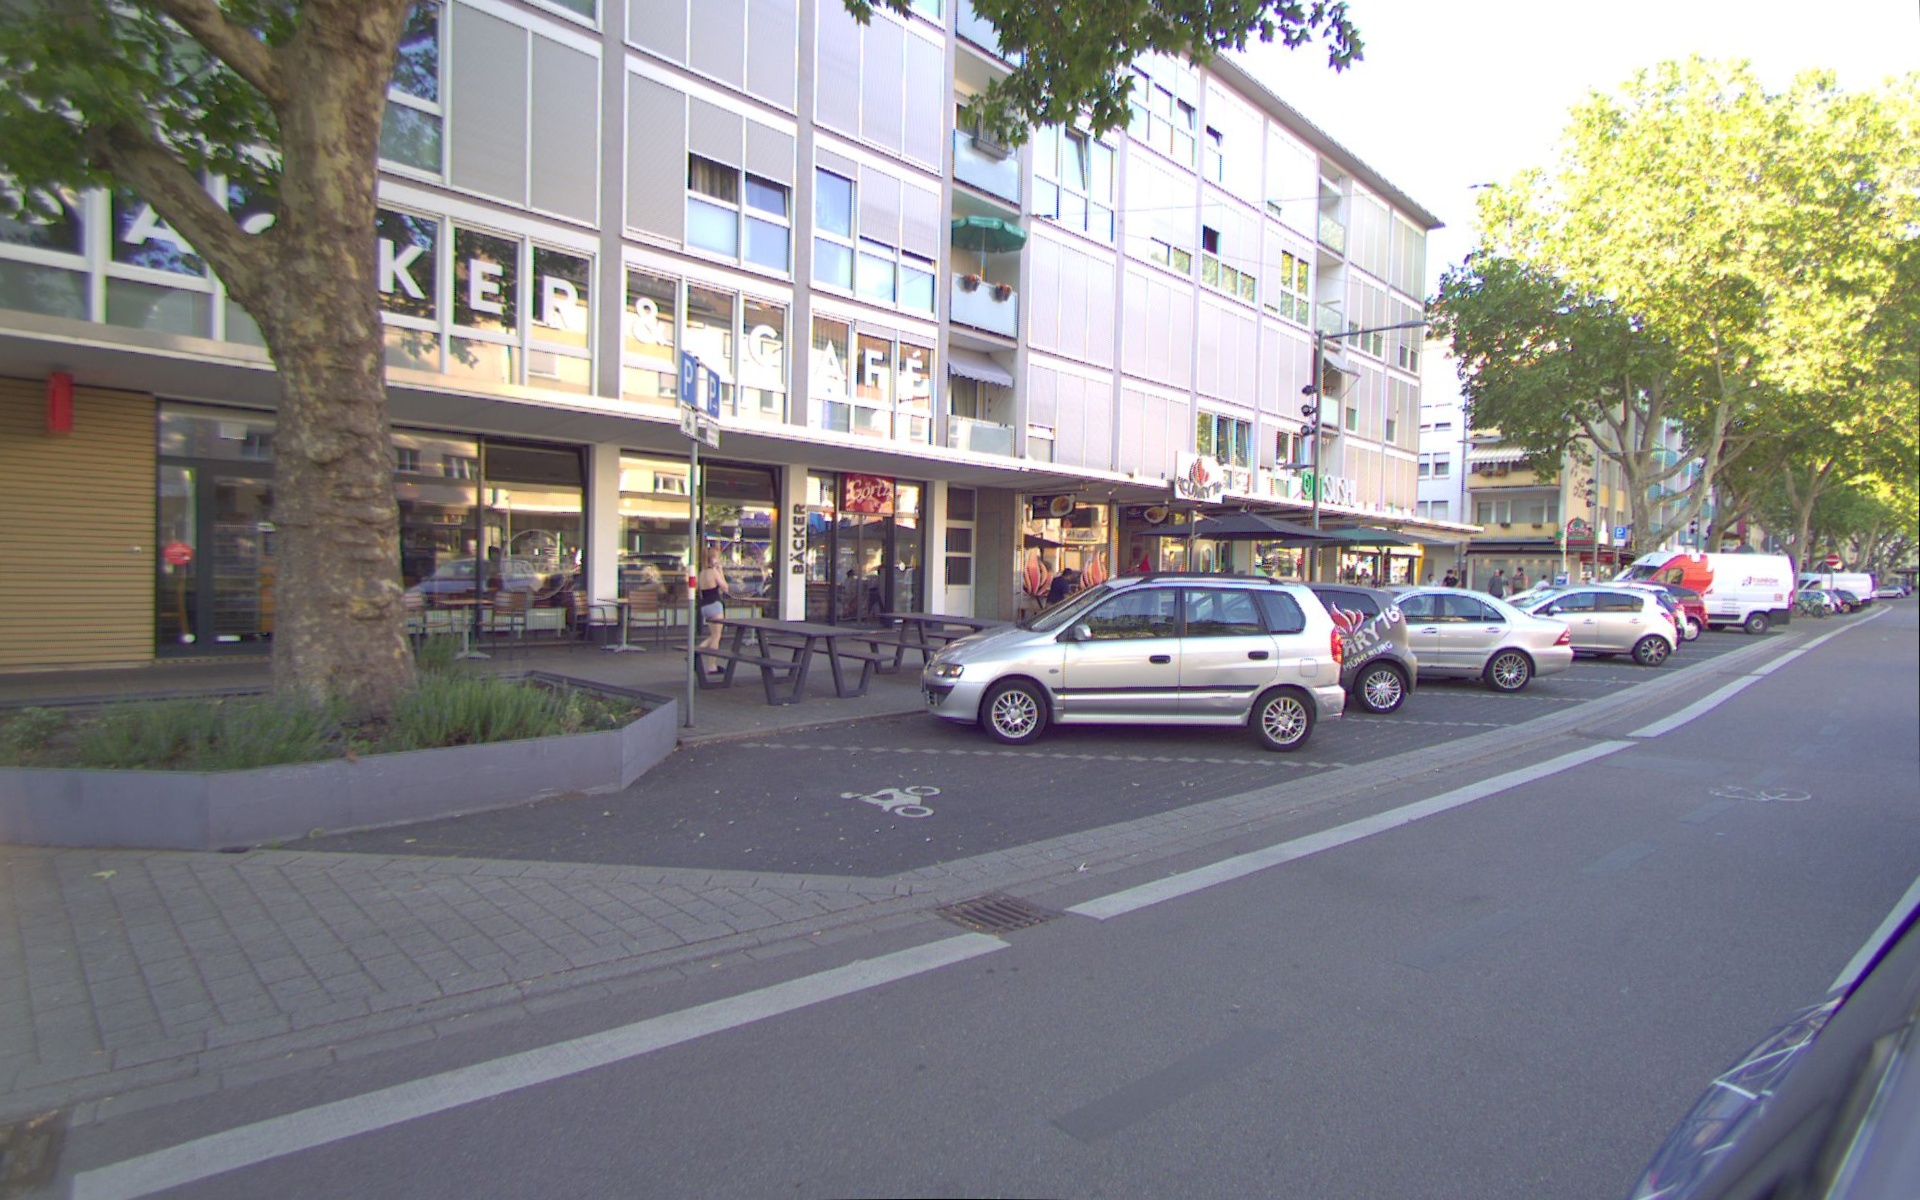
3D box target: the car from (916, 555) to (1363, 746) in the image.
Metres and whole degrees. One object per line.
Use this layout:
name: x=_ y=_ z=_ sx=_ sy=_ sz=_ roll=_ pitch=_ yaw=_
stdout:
car: x=1.566 y=0.419 z=9.802 sx=3.906 sy=1.560 sz=1.679 roll=2 pitch=3 yaw=-3

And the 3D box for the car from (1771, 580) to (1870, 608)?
car: x=48.010 y=-0.351 z=56.532 sx=3.864 sy=1.422 sz=1.782 roll=1 pitch=2 yaw=3

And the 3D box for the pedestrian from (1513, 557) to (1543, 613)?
pedestrian: x=20.938 y=-0.560 z=37.280 sx=0.746 sy=2.038 sz=0.752 roll=3 pitch=2 yaw=45

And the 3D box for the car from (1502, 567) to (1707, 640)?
car: x=15.916 y=0.045 z=25.210 sx=3.888 sy=1.445 sz=1.669 roll=4 pitch=5 yaw=17

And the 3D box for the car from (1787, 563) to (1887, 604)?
car: x=56.405 y=-1.079 z=65.141 sx=4.512 sy=2.499 sz=1.977 roll=1 pitch=2 yaw=3

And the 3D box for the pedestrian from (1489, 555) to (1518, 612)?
pedestrian: x=19.649 y=-0.604 z=36.597 sx=0.746 sy=2.038 sz=0.550 roll=3 pitch=2 yaw=45

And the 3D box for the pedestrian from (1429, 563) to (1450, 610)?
pedestrian: x=17.370 y=-0.496 z=36.677 sx=0.536 sy=1.660 sz=0.470 roll=2 pitch=2 yaw=45

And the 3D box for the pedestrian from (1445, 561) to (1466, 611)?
pedestrian: x=17.768 y=-0.510 z=36.284 sx=0.544 sy=1.741 sz=0.450 roll=2 pitch=2 yaw=45

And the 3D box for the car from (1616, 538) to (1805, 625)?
car: x=23.696 y=-0.586 z=32.080 sx=4.514 sy=2.525 sz=1.675 roll=2 pitch=1 yaw=5

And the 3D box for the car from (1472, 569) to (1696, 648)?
car: x=13.901 y=0.145 z=22.786 sx=3.886 sy=1.446 sz=1.670 roll=3 pitch=3 yaw=16

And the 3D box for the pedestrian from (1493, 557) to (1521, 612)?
pedestrian: x=20.498 y=-0.587 z=37.934 sx=0.746 sy=2.000 sz=0.566 roll=3 pitch=2 yaw=45

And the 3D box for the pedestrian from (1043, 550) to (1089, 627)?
pedestrian: x=2.242 y=-0.253 z=21.382 sx=0.757 sy=1.602 sz=0.583 roll=0 pitch=2 yaw=-39

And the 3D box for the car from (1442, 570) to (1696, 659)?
car: x=11.792 y=0.241 z=19.807 sx=3.871 sy=1.446 sz=1.559 roll=3 pitch=3 yaw=4

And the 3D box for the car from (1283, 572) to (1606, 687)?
car: x=6.955 y=0.391 z=14.813 sx=3.867 sy=1.418 sz=1.598 roll=2 pitch=3 yaw=1

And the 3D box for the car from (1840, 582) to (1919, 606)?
car: x=56.422 y=-0.383 z=61.707 sx=3.864 sy=1.350 sz=1.782 roll=1 pitch=2 yaw=3

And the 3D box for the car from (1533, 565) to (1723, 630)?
car: x=18.094 y=-0.121 z=27.623 sx=3.888 sy=1.445 sz=1.669 roll=4 pitch=5 yaw=17

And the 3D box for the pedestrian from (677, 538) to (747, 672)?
pedestrian: x=-3.073 y=0.045 z=12.531 sx=0.559 sy=1.596 sz=0.632 roll=2 pitch=2 yaw=44

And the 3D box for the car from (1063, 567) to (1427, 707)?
car: x=3.336 y=0.402 z=12.337 sx=3.864 sy=1.446 sz=1.679 roll=2 pitch=3 yaw=-3
